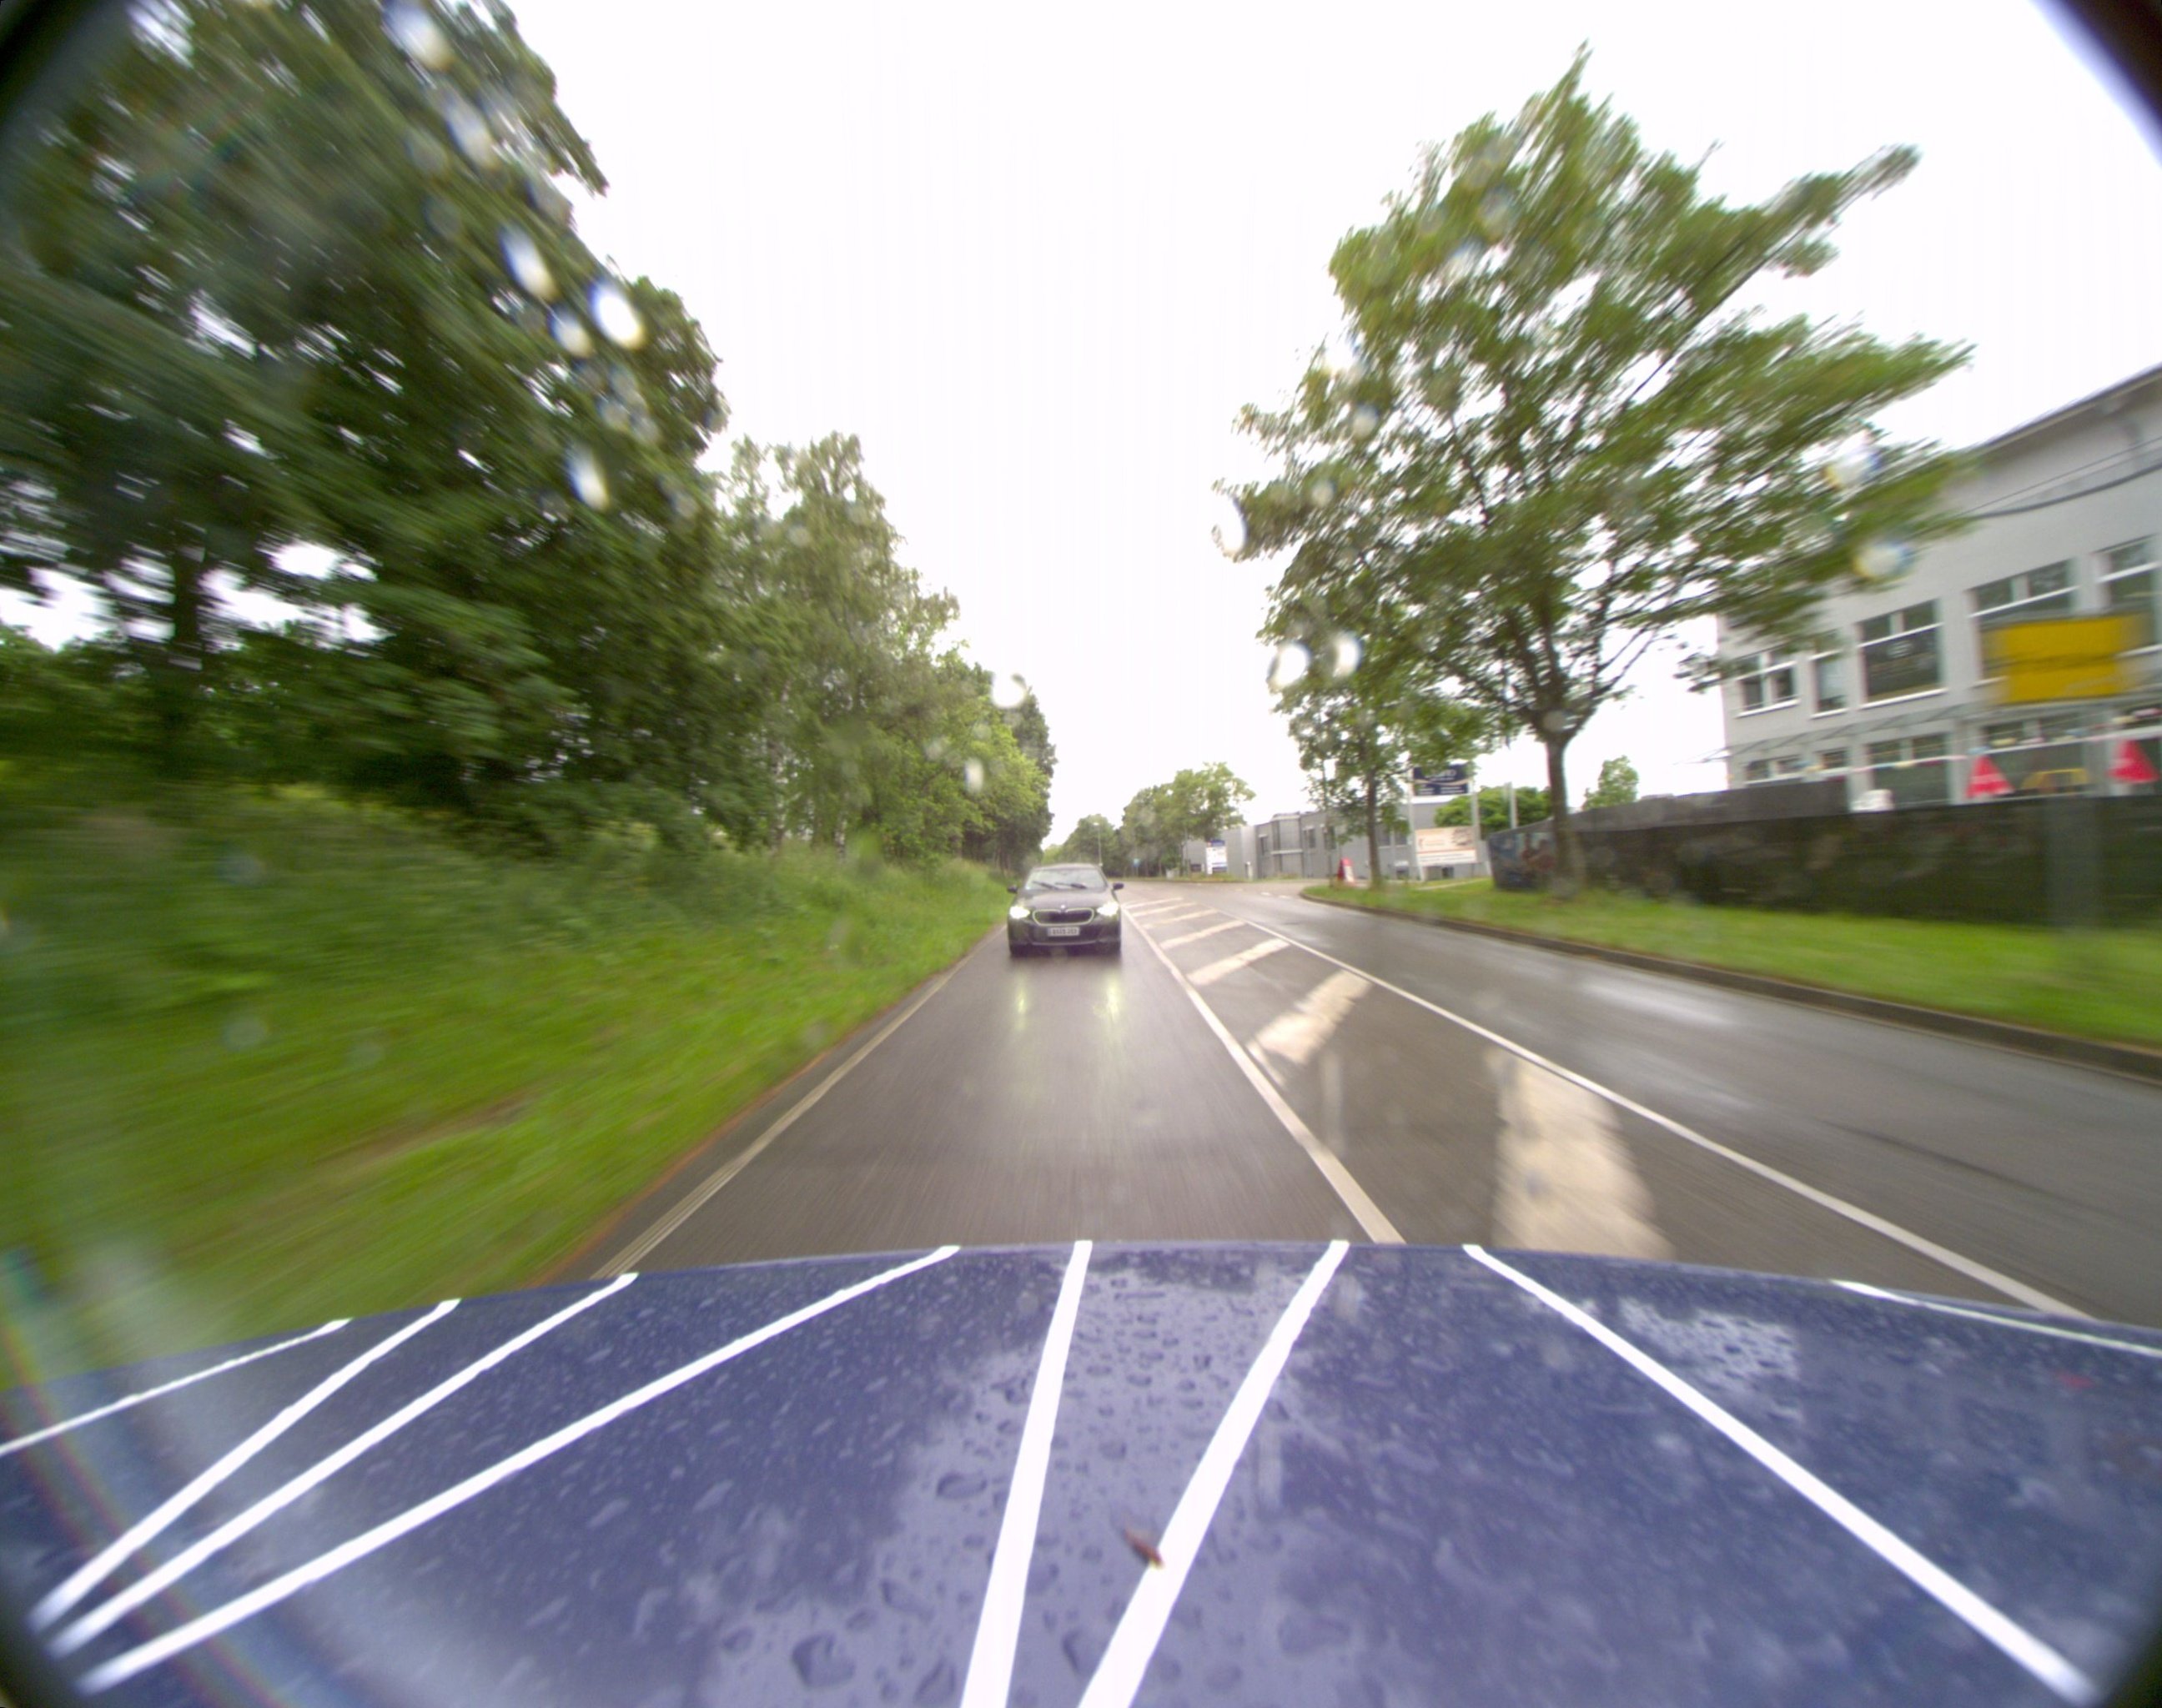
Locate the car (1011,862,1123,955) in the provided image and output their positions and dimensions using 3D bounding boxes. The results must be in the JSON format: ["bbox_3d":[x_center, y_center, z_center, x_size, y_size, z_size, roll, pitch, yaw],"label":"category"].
[{"bbox_3d":[-0.287,0.965,15.194,1.845,1.471,3.999,-4,0,-1],"label":"car"}]
